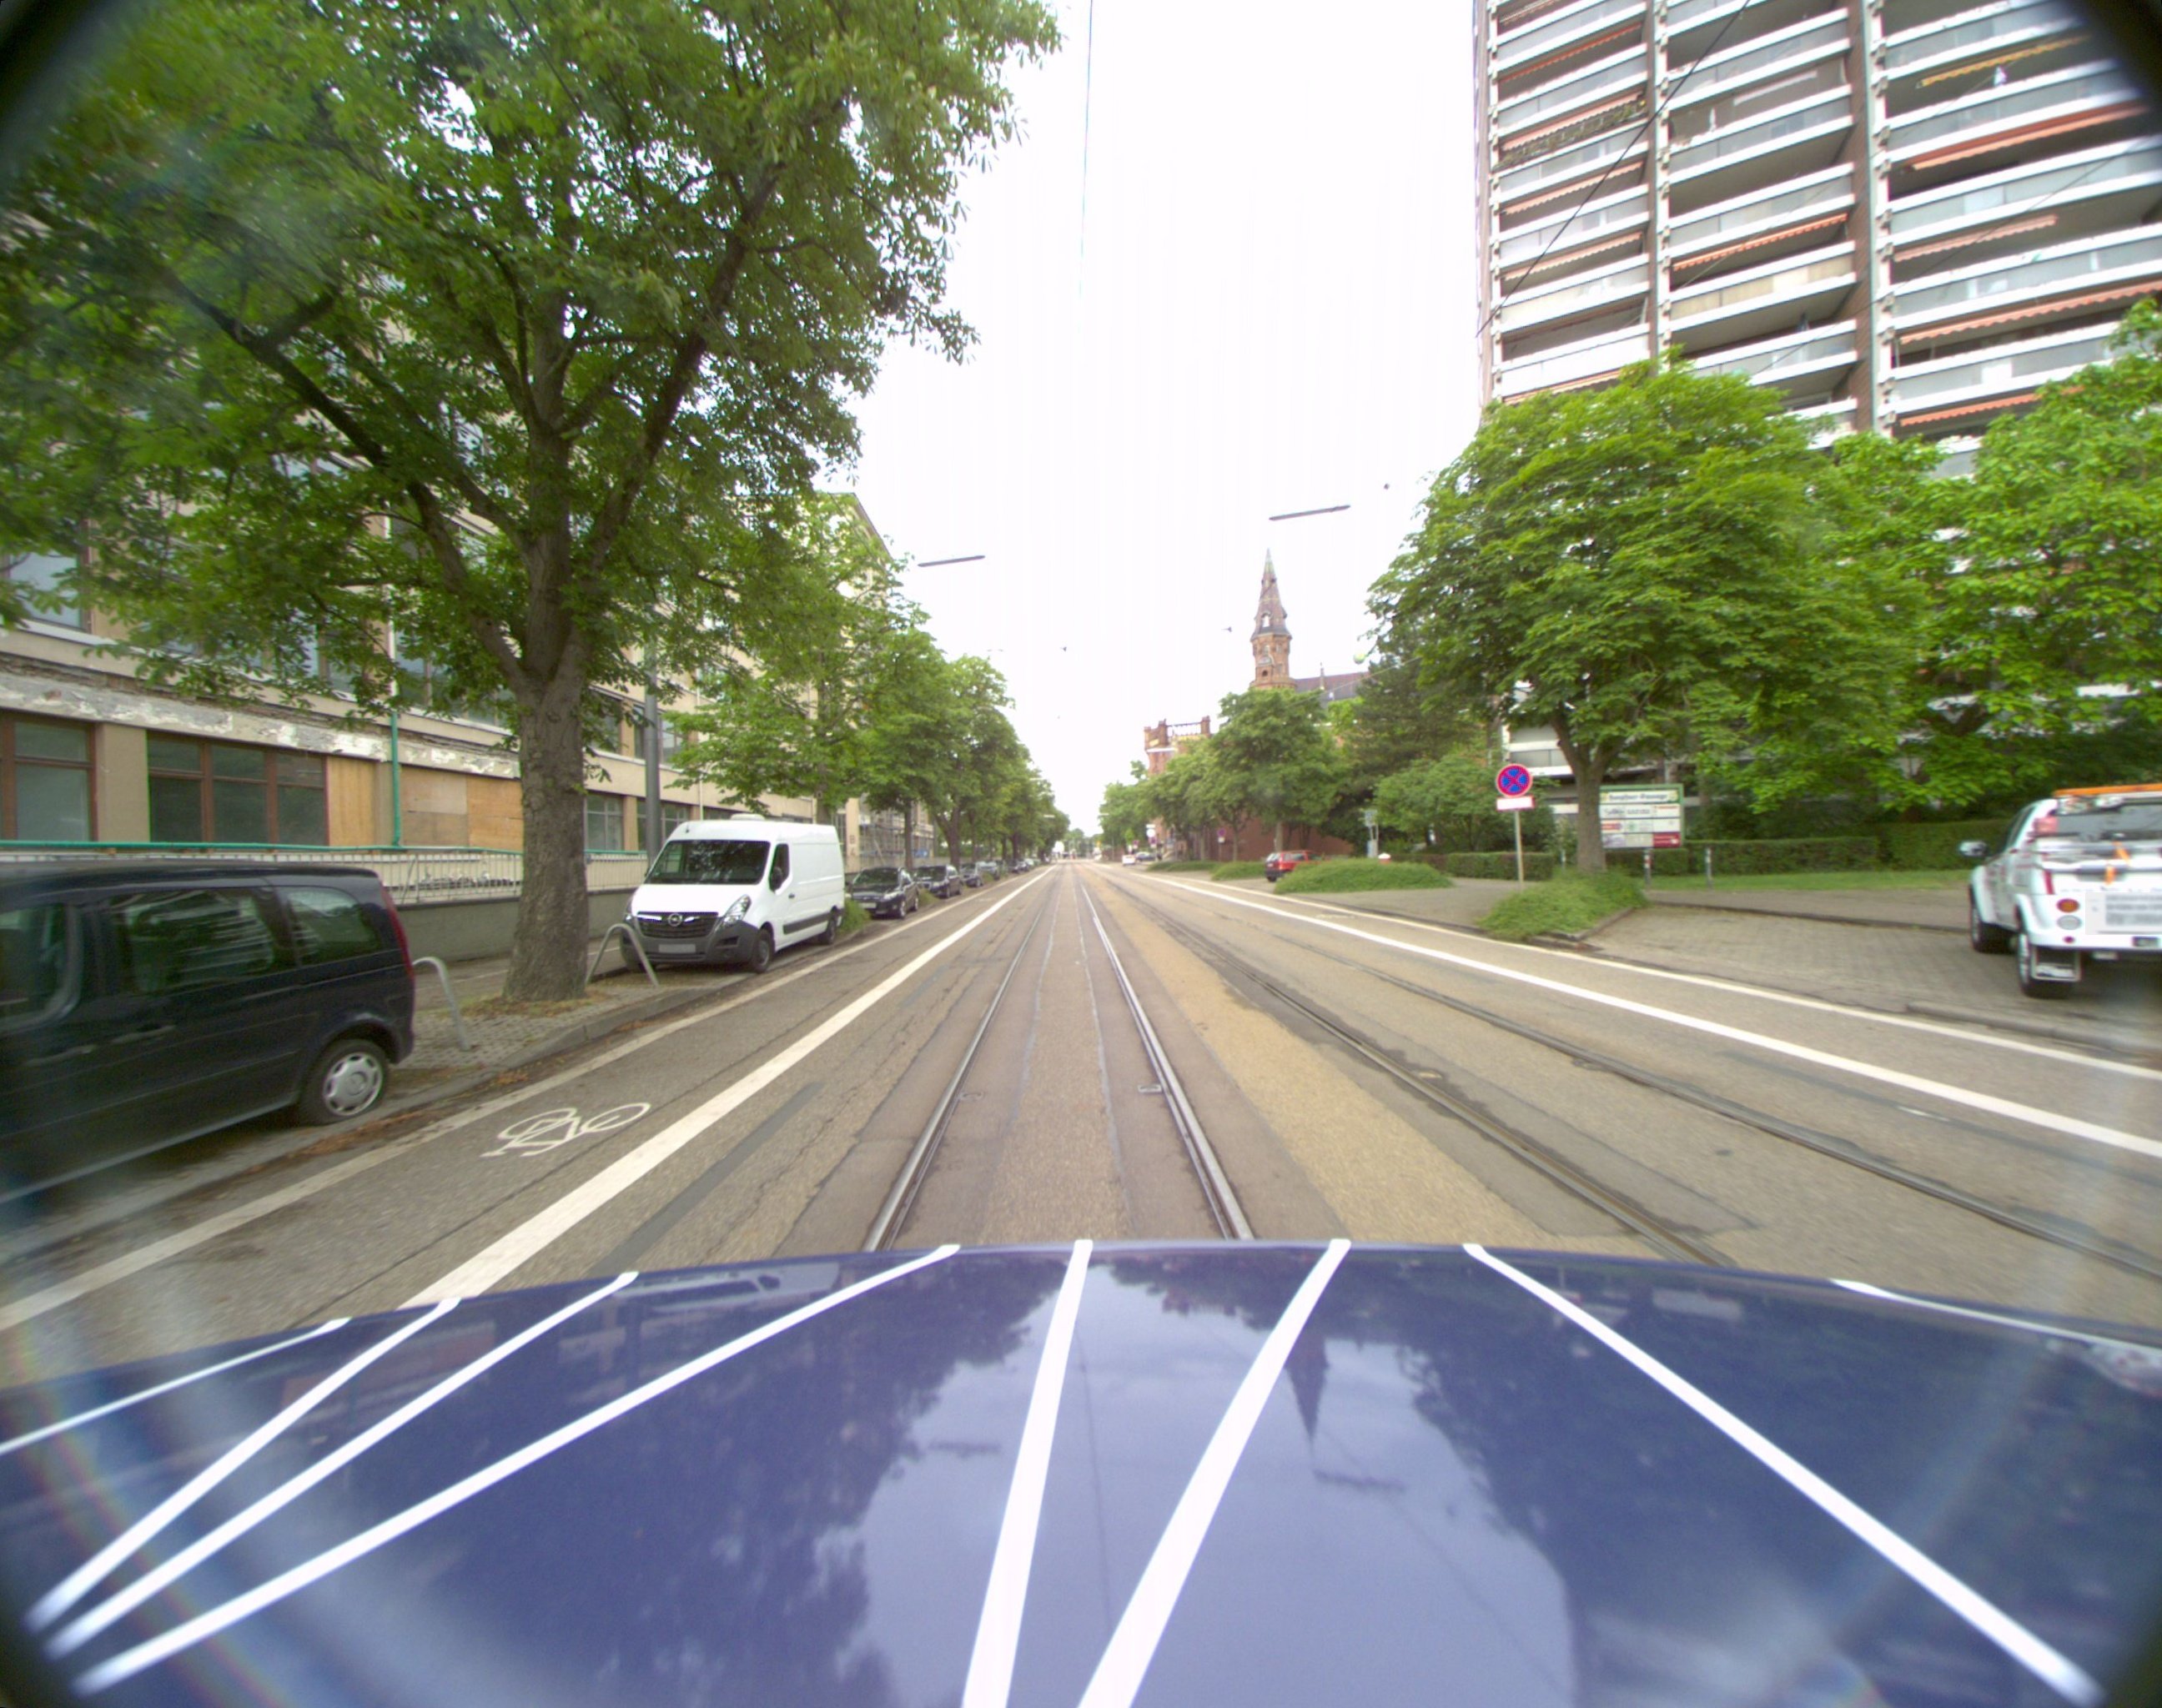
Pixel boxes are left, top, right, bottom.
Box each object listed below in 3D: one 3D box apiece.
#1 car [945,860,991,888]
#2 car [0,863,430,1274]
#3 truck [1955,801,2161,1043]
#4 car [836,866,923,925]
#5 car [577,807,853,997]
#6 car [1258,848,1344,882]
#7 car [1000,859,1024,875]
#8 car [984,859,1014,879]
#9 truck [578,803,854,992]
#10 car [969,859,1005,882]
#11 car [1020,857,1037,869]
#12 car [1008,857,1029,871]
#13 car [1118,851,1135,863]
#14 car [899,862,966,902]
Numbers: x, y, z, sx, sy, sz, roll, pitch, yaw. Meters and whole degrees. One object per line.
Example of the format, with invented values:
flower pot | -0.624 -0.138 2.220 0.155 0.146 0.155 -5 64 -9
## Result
car | -6.495 1.117 44.067 1.999 1.452 4.392 -2 0 -1
car | -5.752 1.025 3.670 1.658 1.802 4.083 -2 1 -1
truck | 10.222 0.428 7.302 1.994 1.838 5.074 -2 0 45
car | -5.954 1.169 22.909 1.826 1.491 4.104 0 1 -4
car | -5.958 0.677 13.429 2.118 2.587 5.491 -2 0 0
car | 10.221 0.496 35.385 3.505 1.369 1.632 -3 1 -14
car | -6.881 1.238 76.310 1.999 1.452 4.392 -2 0 -1
car | -6.590 1.178 61.465 1.999 1.452 4.392 -2 0 -1
truck | -5.957 0.607 13.432 2.118 2.587 5.491 -2 0 0
car | -6.574 1.129 53.416 1.999 1.452 4.392 -2 0 -1
car | -7.032 1.148 101.847 1.999 1.452 4.392 -2 0 -1
car | -7.215 1.094 87.991 1.999 1.452 4.392 -2 0 -1
car | 6.456 0.421 108.624 1.999 1.521 3.999 -2 0 -1
car | -6.262 1.157 32.526 1.999 1.452 4.392 -2 0 -1
